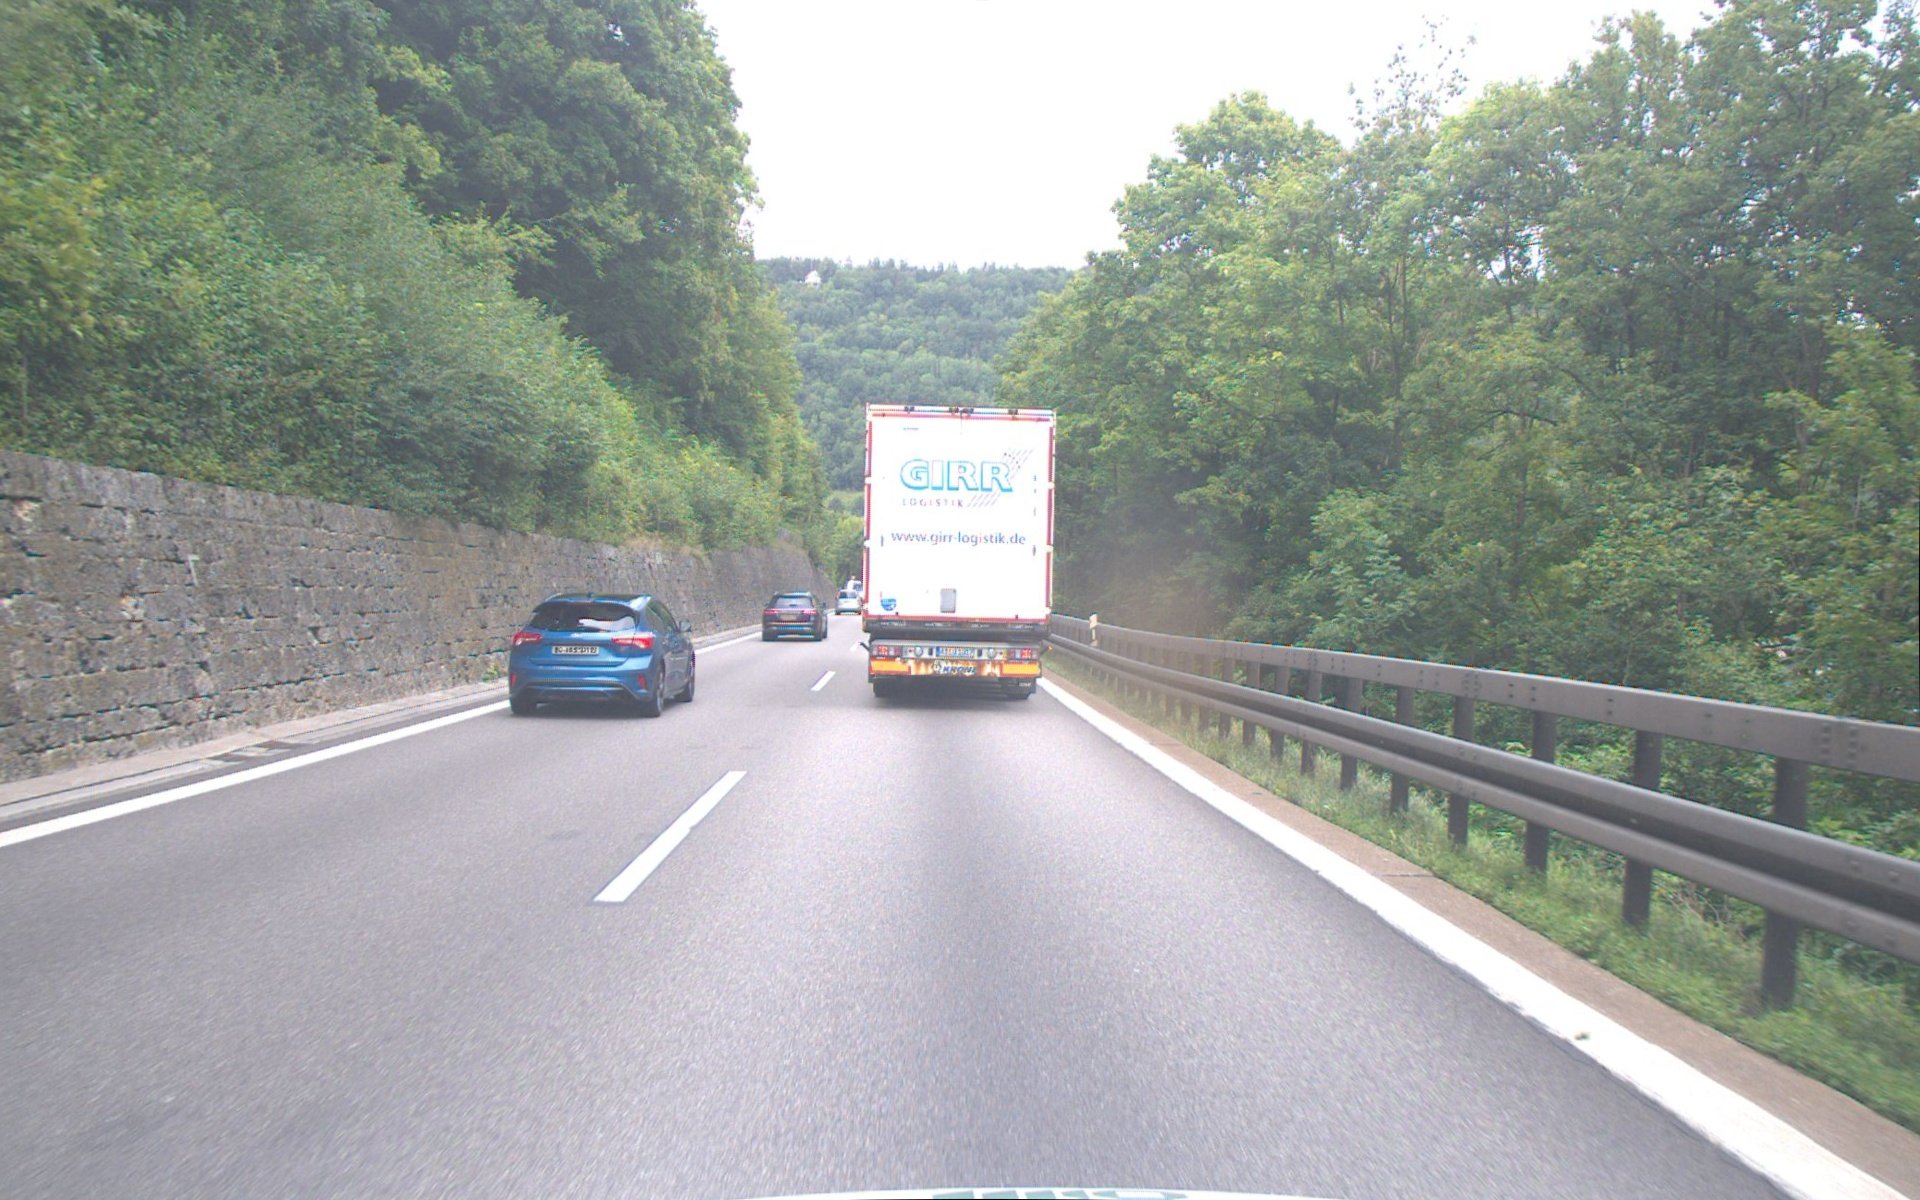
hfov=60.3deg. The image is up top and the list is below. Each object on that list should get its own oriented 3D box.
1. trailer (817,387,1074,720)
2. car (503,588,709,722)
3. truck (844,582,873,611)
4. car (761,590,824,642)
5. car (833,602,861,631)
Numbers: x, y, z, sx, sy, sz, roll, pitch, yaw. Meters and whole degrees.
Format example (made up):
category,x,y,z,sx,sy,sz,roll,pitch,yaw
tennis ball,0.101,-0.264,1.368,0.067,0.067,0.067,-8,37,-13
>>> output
category,x,y,z,sx,sy,sz,roll,pitch,yaw
trailer,-0.401,-0.652,26.221,3.071,4.112,9.434,4,0,-3
car,-4.383,0.636,21.134,1.799,1.494,4.553,1,0,-2
truck,-8.717,-0.345,142.310,2.302,2.313,6.846,3,0,-3
car,-5.153,0.464,51.369,1.726,1.489,5.119,1,0,-3
car,-7.308,1.056,107.344,1.601,1.757,4.343,2,0,-1
